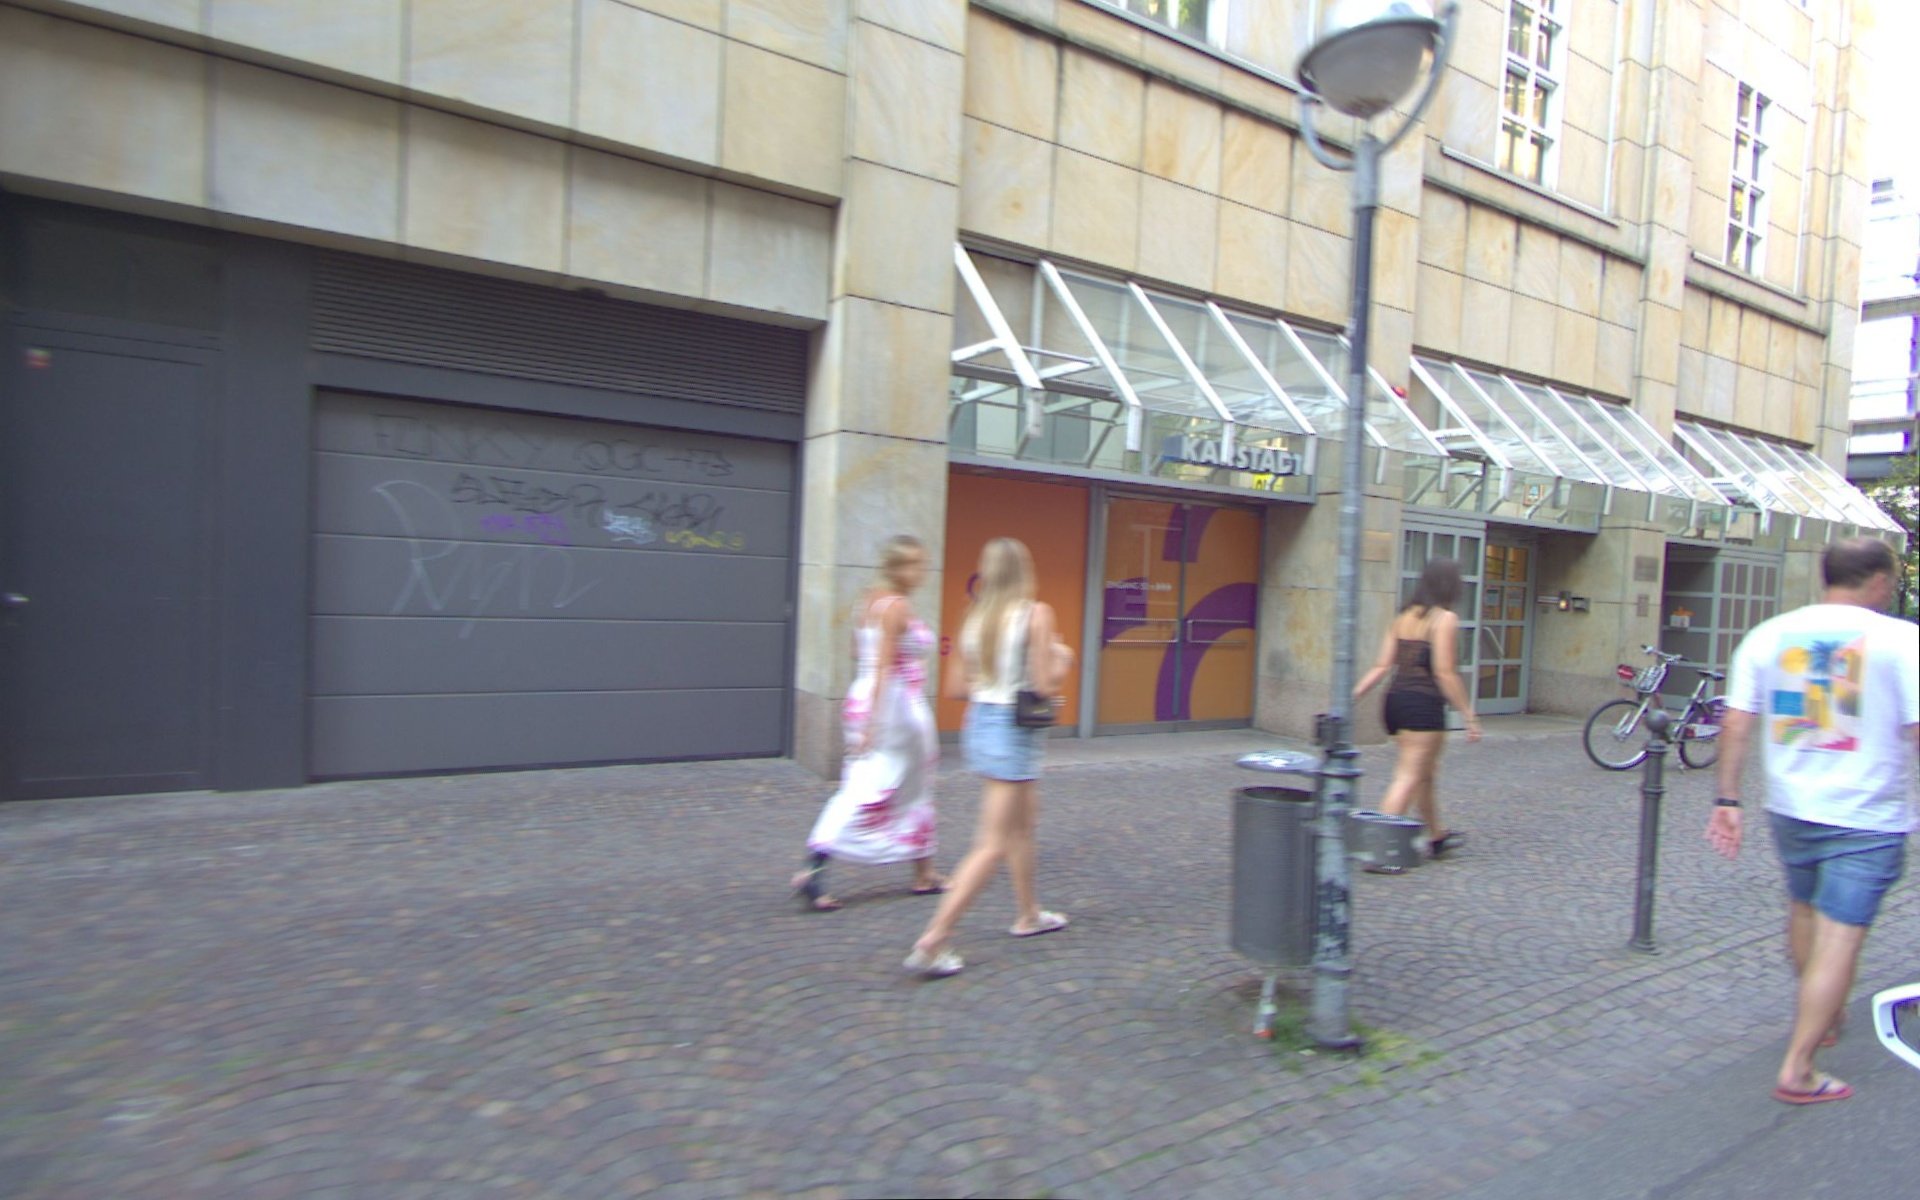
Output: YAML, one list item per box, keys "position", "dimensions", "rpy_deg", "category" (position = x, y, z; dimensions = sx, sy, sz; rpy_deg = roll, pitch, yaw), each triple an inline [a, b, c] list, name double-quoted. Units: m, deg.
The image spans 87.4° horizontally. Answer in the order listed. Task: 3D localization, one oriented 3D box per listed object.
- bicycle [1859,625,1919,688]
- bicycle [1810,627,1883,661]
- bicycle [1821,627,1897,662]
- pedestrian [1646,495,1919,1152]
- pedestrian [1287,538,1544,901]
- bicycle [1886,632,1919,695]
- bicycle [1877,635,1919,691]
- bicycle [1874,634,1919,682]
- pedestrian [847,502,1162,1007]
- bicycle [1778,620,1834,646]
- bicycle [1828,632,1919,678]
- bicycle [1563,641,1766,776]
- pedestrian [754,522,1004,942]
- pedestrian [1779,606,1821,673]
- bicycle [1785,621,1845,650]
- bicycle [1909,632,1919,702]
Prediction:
- position: [19.891, 1.189, 20.802]
  dimensions: [1.809, 1.241, 0.532]
  rpy_deg: [2, 1, 37]
  category: "bicycle"
- position: [29.509, 1.458, 33.471]
  dimensions: [1.756, 1.033, 0.479]
  rpy_deg: [2, 1, 37]
  category: "bicycle"
- position: [29.106, 1.424, 32.535]
  dimensions: [1.756, 1.033, 0.479]
  rpy_deg: [2, 1, 37]
  category: "bicycle"
- position: [2.919, 0.625, 3.313]
  dimensions: [0.868, 1.847, 0.738]
  rpy_deg: [1, 1, -32]
  category: "pedestrian"
- position: [2.486, 0.601, 5.545]
  dimensions: [0.957, 1.819, 0.784]
  rpy_deg: [1, 1, -20]
  category: "pedestrian"
- position: [19.292, 1.265, 19.484]
  dimensions: [1.848, 1.193, 0.532]
  rpy_deg: [2, 1, 37]
  category: "bicycle"
- position: [19.591, 1.294, 20.004]
  dimensions: [1.869, 1.066, 0.532]
  rpy_deg: [2, 1, 37]
  category: "bicycle"
- position: [22.659, 1.385, 23.457]
  dimensions: [1.852, 1.057, 0.532]
  rpy_deg: [2, 1, 37]
  category: "bicycle"
- position: [0.185, 0.526, 4.090]
  dimensions: [0.942, 1.753, 0.798]
  rpy_deg: [0, 2, -45]
  category: "pedestrian"
- position: [38.787, 1.501, 46.072]
  dimensions: [1.879, 1.127, 0.479]
  rpy_deg: [2, 1, 37]
  category: "bicycle"
- position: [23.389, 1.385, 25.623]
  dimensions: [1.801, 1.057, 0.532]
  rpy_deg: [2, 1, 37]
  category: "bicycle"
- position: [6.515, 0.992, 9.297]
  dimensions: [1.735, 1.153, 0.521]
  rpy_deg: [2, 1, -16]
  category: "bicycle"
- position: [-0.363, 0.522, 4.562]
  dimensions: [0.667, 1.687, 0.855]
  rpy_deg: [4, 2, 44]
  category: "pedestrian"
- position: [20.667, 0.957, 24.724]
  dimensions: [0.689, 1.604, 0.716]
  rpy_deg: [2, 1, 36]
  category: "pedestrian"
- position: [36.172, 1.483, 42.511]
  dimensions: [1.879, 1.127, 0.479]
  rpy_deg: [2, 1, 37]
  category: "bicycle"
- position: [18.160, 1.245, 17.954]
  dimensions: [1.632, 1.247, 0.532]
  rpy_deg: [2, 1, 37]
  category: "bicycle"
